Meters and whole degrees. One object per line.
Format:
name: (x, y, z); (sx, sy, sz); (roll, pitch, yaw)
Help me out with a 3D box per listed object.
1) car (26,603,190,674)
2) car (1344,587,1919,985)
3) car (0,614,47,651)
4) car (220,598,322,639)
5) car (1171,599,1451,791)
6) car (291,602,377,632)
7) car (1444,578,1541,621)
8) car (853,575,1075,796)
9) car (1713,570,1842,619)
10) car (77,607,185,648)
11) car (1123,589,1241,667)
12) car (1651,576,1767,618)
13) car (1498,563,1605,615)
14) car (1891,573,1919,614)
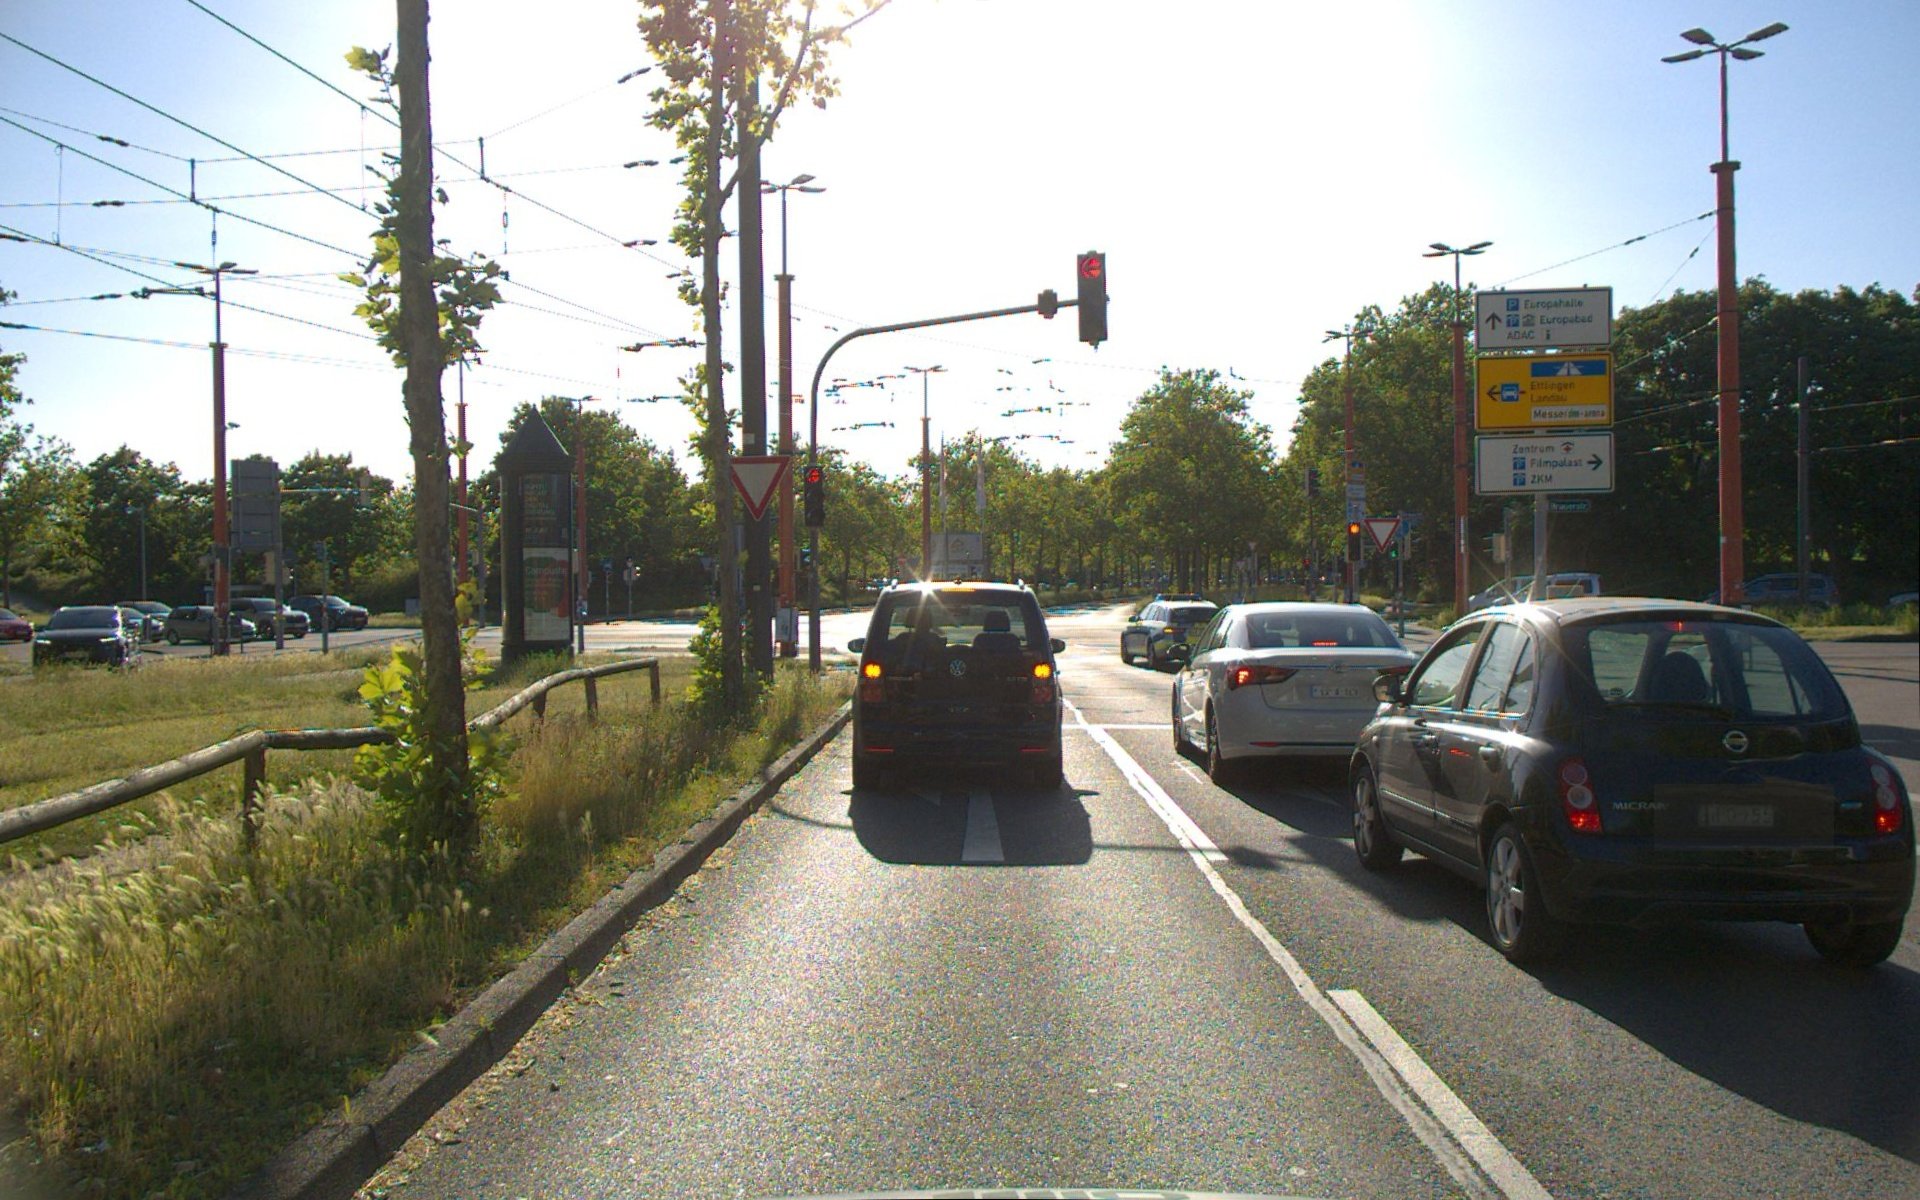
car: (-19.696, 0.854, 38.431); (1.728, 1.538, 4.102); (0, 0, -1)
car: (3.139, 0.714, 8.205); (1.620, 1.526, 3.614); (1, 0, 0)
car: (-41.474, 1.370, 71.342); (3.908, 1.540, 1.731); (0, 0, 26)
car: (-28.724, 0.748, 68.920); (3.913, 1.673, 1.996); (0, 0, 31)
car: (2.963, 0.728, 14.805); (1.685, 1.463, 4.198); (0, 0, 1)
car: (-28.967, 0.790, 76.486); (3.914, 1.353, 1.694); (0, 0, 31)
car: (21.714, -0.017, 67.493); (3.570, 1.684, 1.679); (1, 0, 25)
car: (0.001, 0.639, 14.454); (1.666, 1.650, 3.896); (0, 0, -1)
car: (29.569, -0.195, 59.907); (4.097, 1.673, 1.758); (1, 0, 27)
car: (-34.244, 1.131, 68.297); (4.091, 1.640, 1.867); (0, 0, 25)
car: (5.058, 0.594, 38.164); (1.763, 1.685, 4.108); (0, 0, -7)
car: (28.935, -0.103, 63.915); (4.040, 1.537, 1.821); (1, 0, 26)
car: (22.710, -0.409, 63.531); (3.755, 1.923, 1.763); (1, 0, 24)
car: (36.037, -0.214, 59.961); (3.886, 1.466, 1.685); (1, 0, 26)
